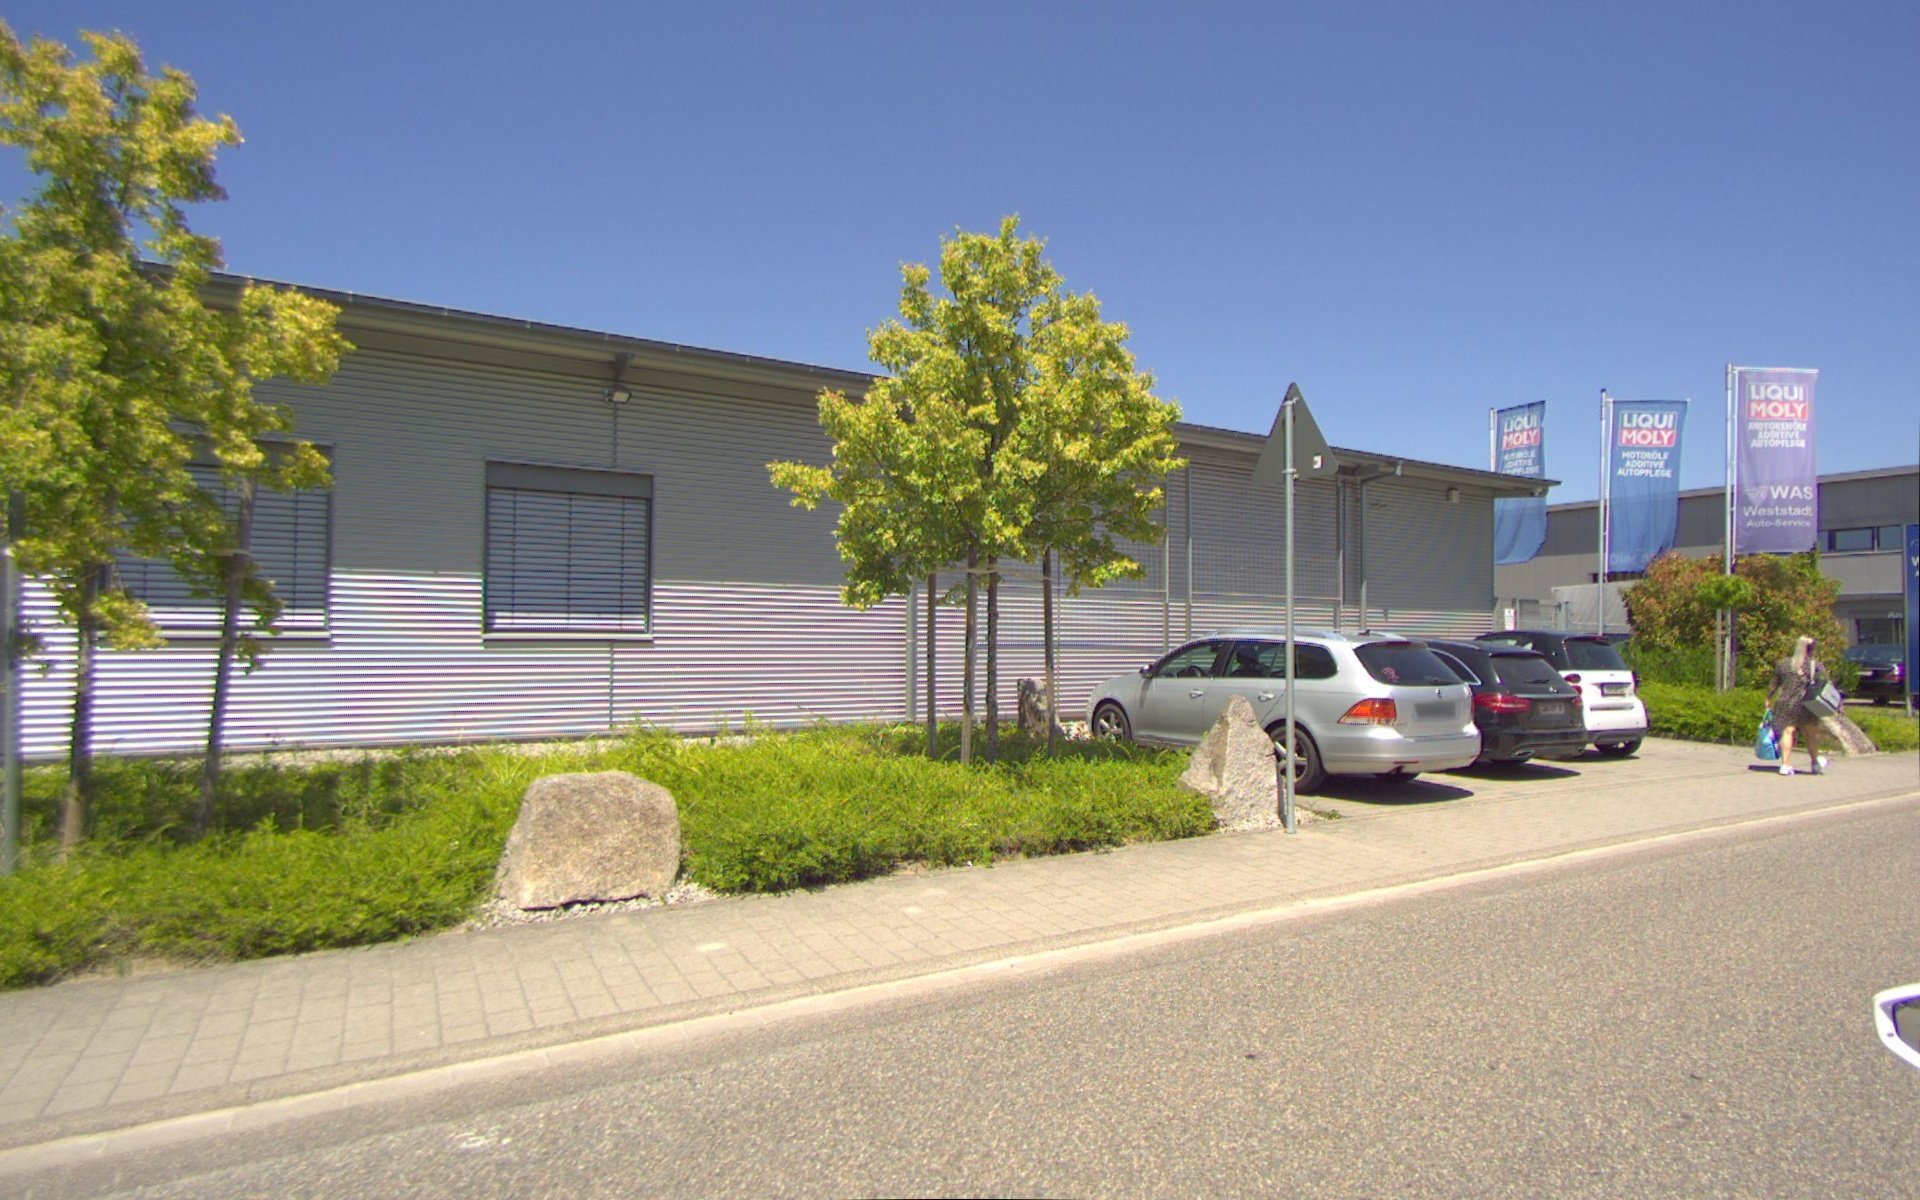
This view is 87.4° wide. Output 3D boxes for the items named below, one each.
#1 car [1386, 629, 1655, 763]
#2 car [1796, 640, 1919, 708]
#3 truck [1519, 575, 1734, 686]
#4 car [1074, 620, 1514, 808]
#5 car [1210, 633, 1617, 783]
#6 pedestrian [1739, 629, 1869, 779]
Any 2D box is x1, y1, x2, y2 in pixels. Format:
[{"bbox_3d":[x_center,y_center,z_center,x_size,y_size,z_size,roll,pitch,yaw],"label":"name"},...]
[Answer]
[{"bbox_3d":[7.273,1.169,13.230,1.518,1.538,2.728,2,-2,-31],"label":"car"},{"bbox_3d":[22.519,1.762,24.412,4.714,1.435,1.922,2,-1,-31],"label":"car"},{"bbox_3d":[24.250,1.074,37.191,2.536,3.604,8.064,1,-1,-1],"label":"truck"},{"bbox_3d":[3.210,1.010,10.537,1.844,1.538,4.241,2,-2,-30],"label":"car"},{"bbox_3d":[5.201,1.145,12.170,1.824,1.450,4.292,2,-2,-28],"label":"car"},{"bbox_3d":[9.576,1.139,11.416,0.776,1.595,0.895,1,0,-29],"label":"pedestrian"}]
